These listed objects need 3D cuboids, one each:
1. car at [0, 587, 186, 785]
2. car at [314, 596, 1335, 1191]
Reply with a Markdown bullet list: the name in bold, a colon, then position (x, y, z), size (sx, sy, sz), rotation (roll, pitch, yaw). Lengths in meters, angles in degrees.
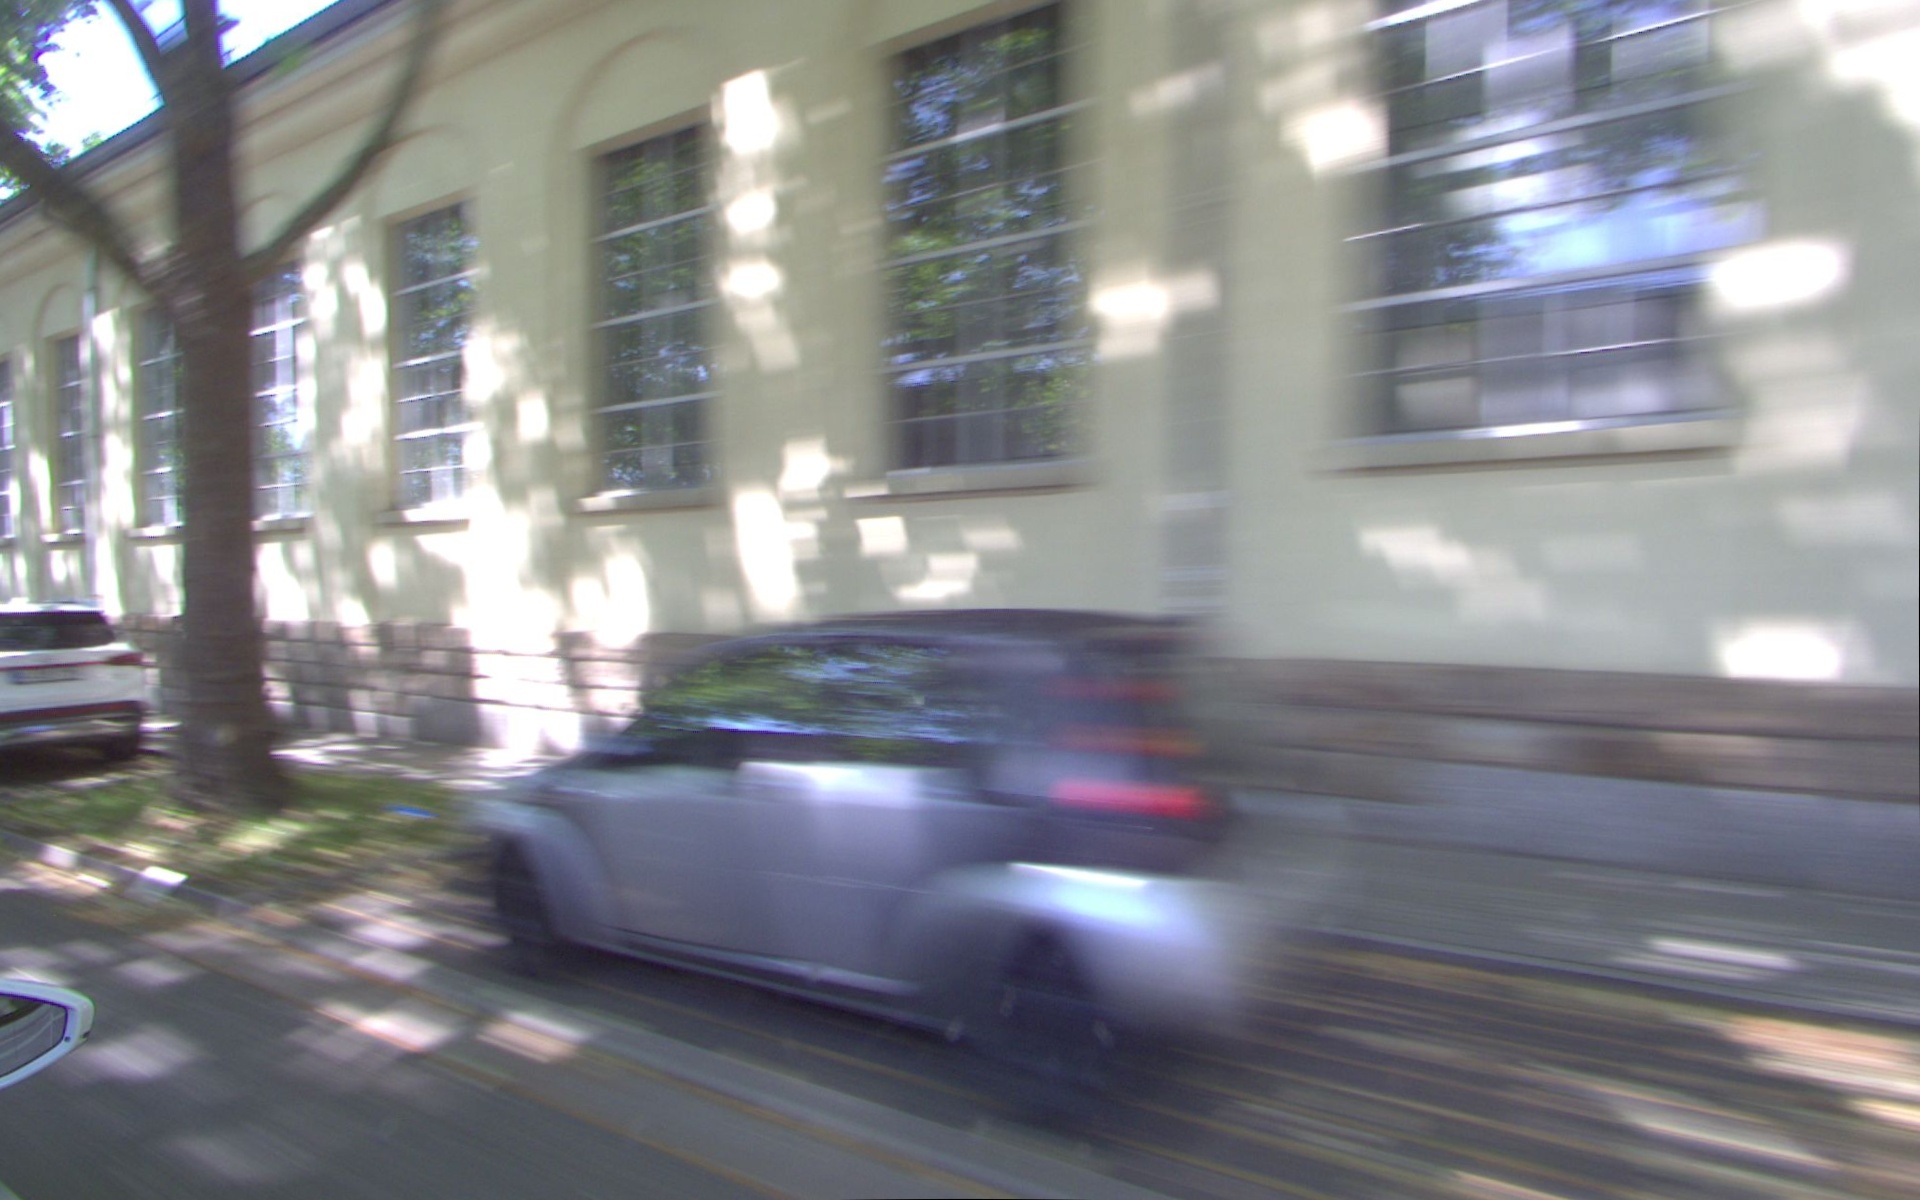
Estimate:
- **car**: position (-10.139, 0.770, 10.393), size (4.683, 1.712, 1.803), rotation (-1, 1, 32)
- **car**: position (-0.821, 0.753, 4.349), size (4.369, 1.459, 1.617), rotation (-1, 1, 32)
